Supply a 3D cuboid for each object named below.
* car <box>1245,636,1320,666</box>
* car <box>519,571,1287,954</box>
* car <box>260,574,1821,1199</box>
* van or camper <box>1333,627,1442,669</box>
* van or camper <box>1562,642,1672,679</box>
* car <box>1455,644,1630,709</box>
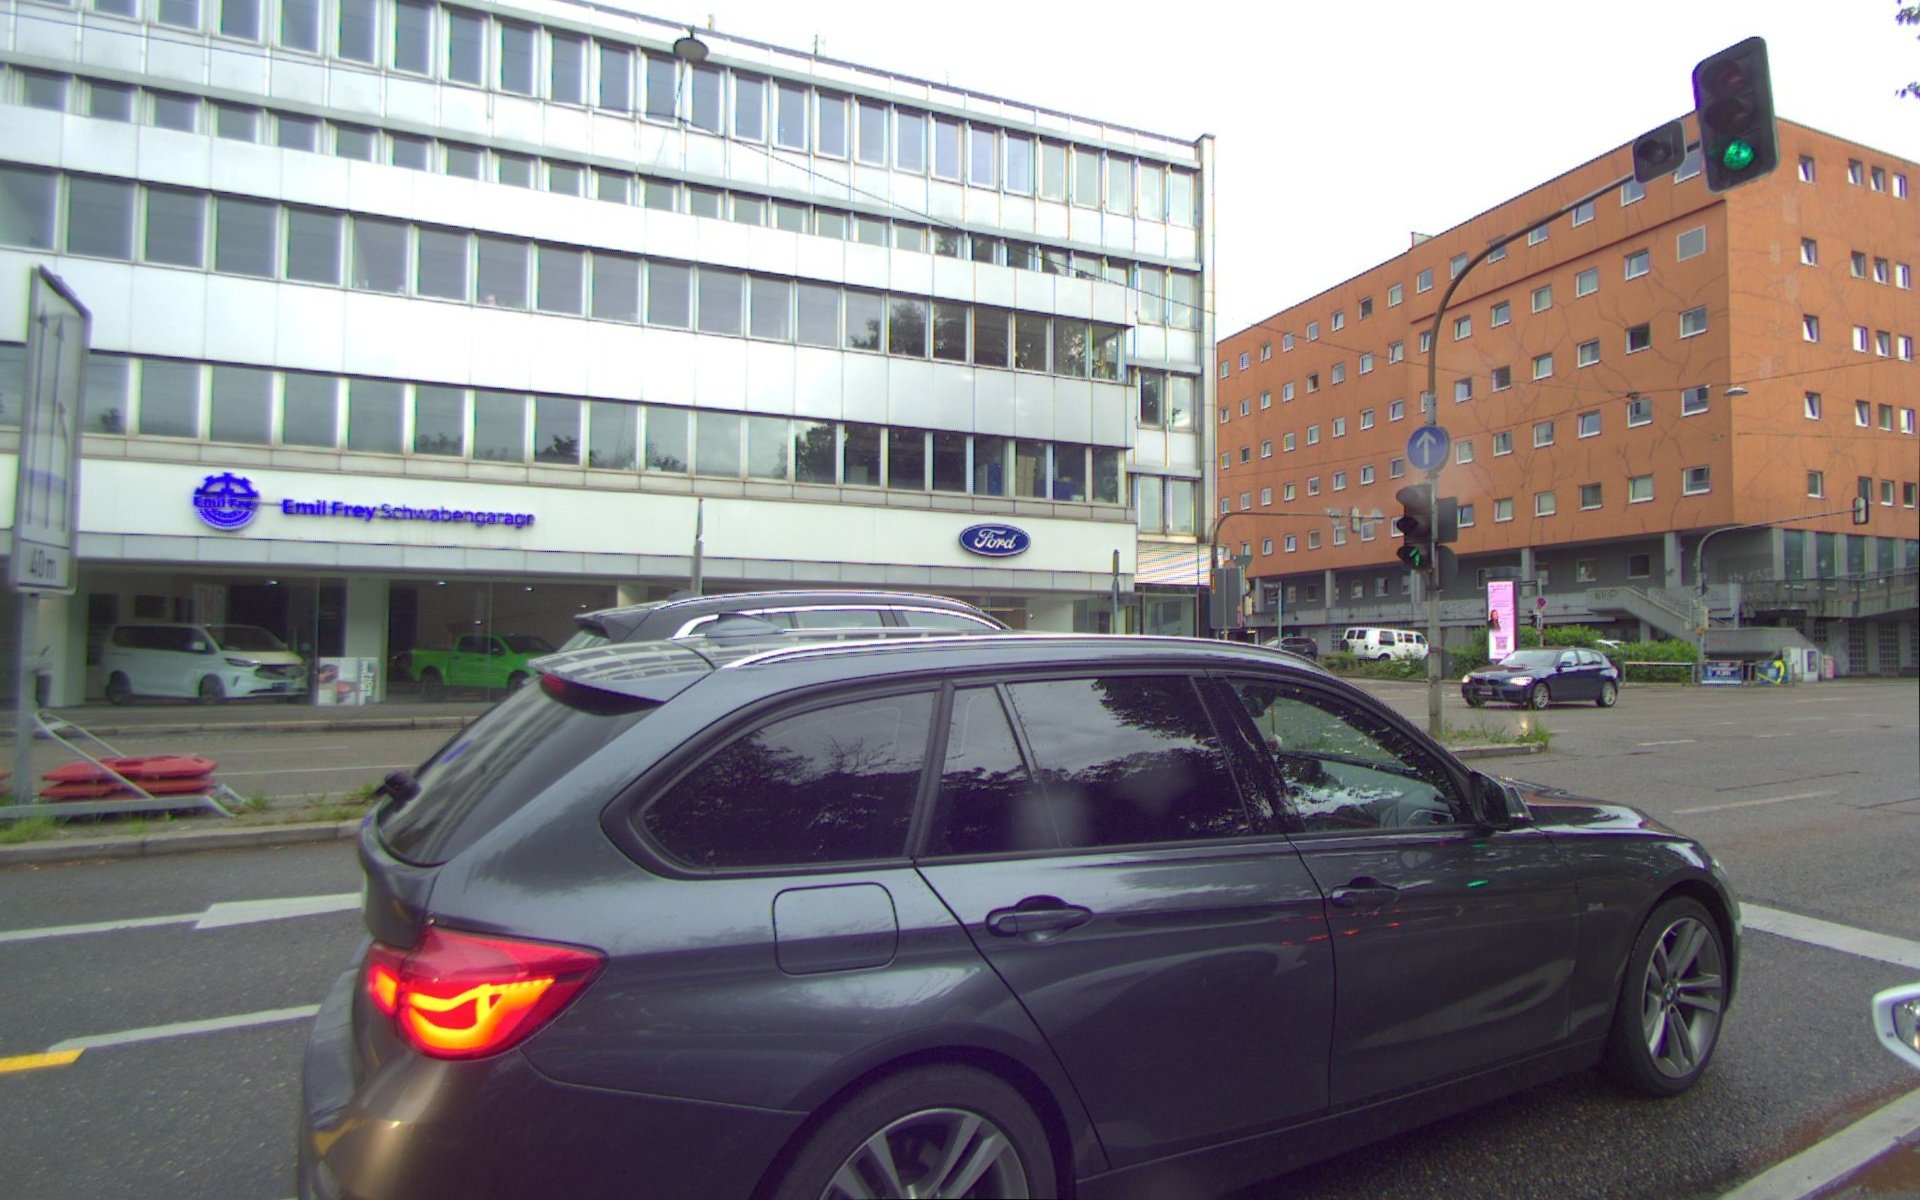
[{"bbox_3d":[18.931,2.993,59.001,4.027,1.633,1.706,2,0,-23],"label":"car"},{"bbox_3d":[-0.266,0.765,6.228,4.389,1.678,1.802,2,0,-28],"label":"car"},{"bbox_3d":[0.611,0.796,3.147,4.424,1.477,1.769,2,-3,-30],"label":"car"},{"bbox_3d":[22.300,2.517,52.358,5.376,2.004,2.121,2,0,-23],"label":"van or camper"},{"bbox_3d":[30.962,2.808,47.438,1.887,1.648,3.978,1,-2,-23],"label":"van or camper"},{"bbox_3d":[13.911,1.785,23.940,4.162,1.437,1.679,2,-3,-28],"label":"car"}]
